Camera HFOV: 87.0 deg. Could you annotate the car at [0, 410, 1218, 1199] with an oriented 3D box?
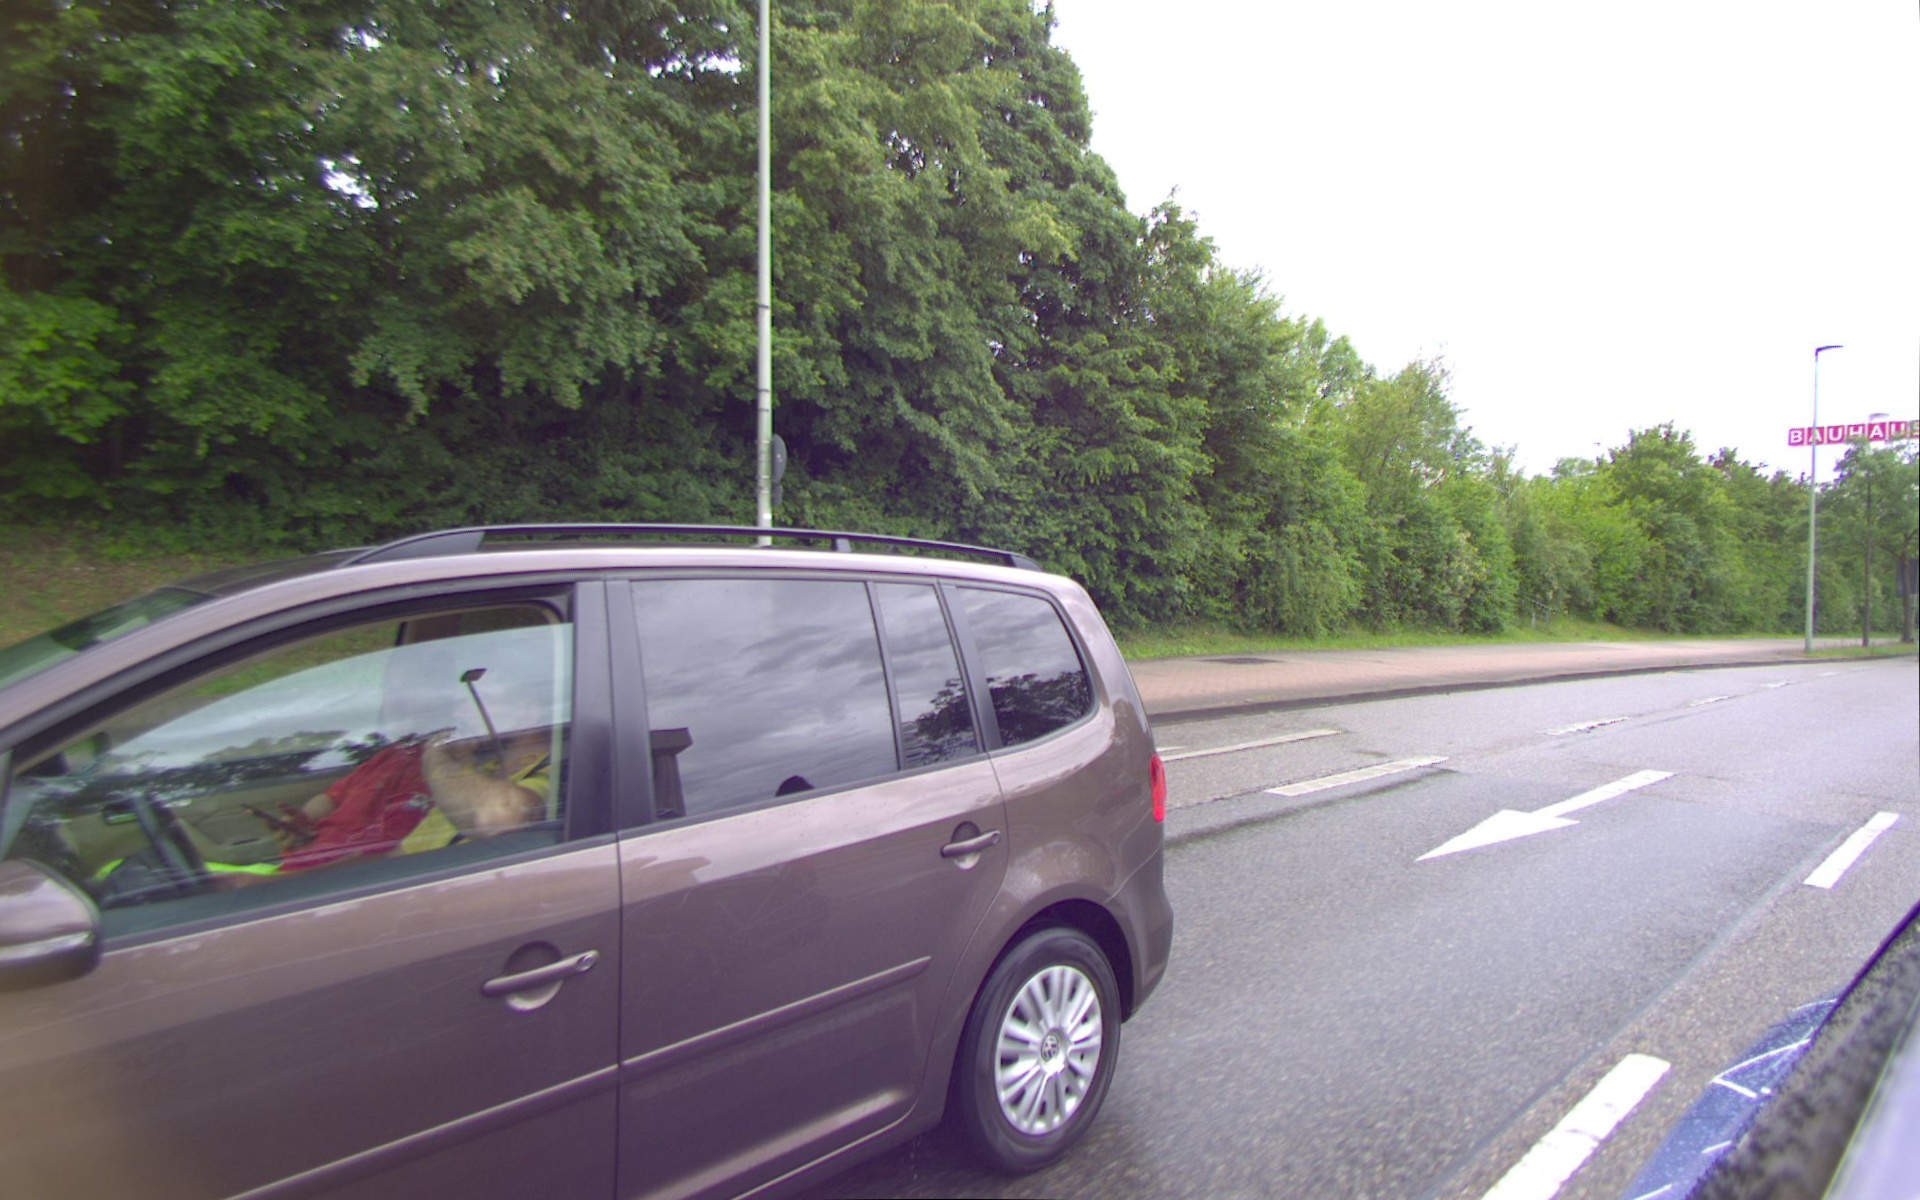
[{"bbox_3d":[-1.290,0.561,2.352,4.060,1.617,1.716,1,0,-43],"label":"car"}]
